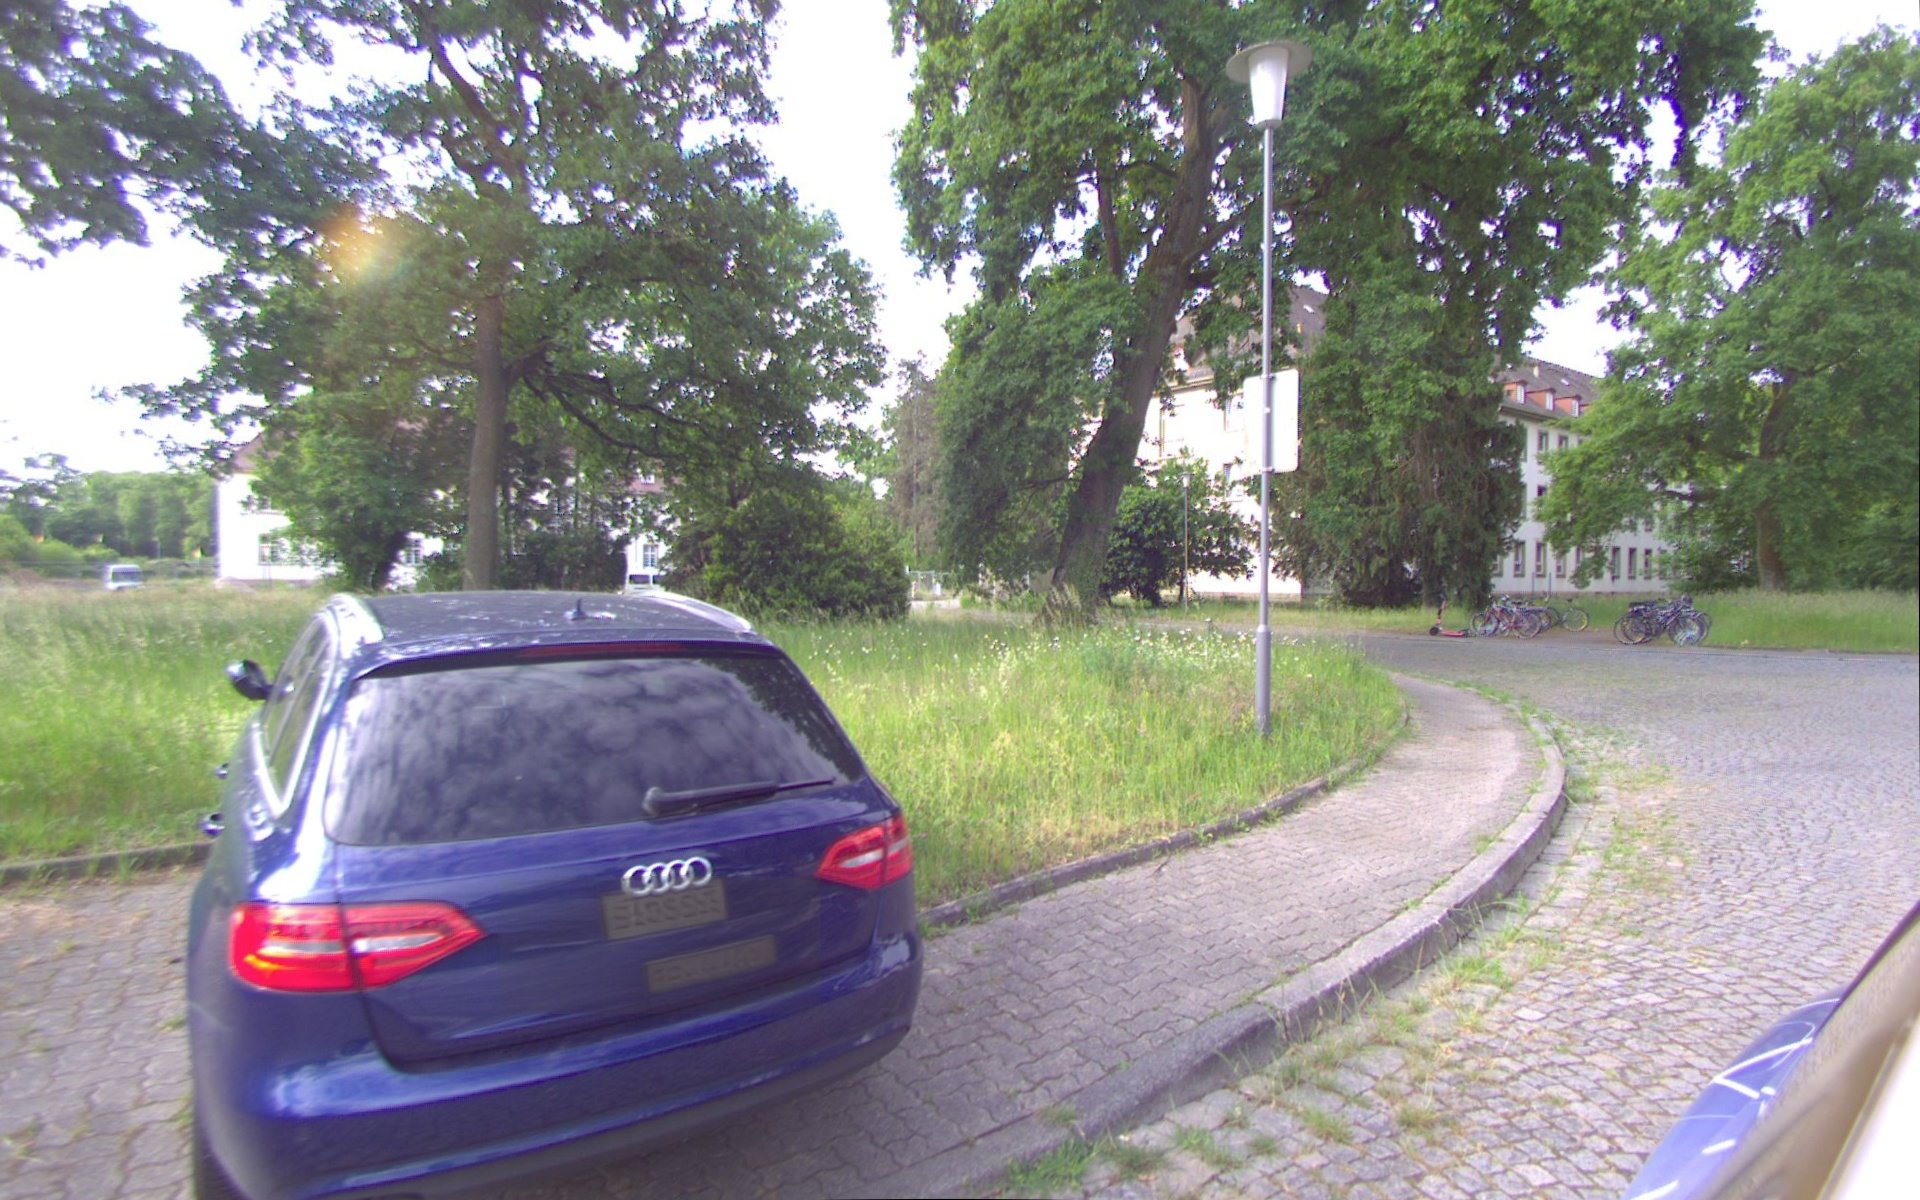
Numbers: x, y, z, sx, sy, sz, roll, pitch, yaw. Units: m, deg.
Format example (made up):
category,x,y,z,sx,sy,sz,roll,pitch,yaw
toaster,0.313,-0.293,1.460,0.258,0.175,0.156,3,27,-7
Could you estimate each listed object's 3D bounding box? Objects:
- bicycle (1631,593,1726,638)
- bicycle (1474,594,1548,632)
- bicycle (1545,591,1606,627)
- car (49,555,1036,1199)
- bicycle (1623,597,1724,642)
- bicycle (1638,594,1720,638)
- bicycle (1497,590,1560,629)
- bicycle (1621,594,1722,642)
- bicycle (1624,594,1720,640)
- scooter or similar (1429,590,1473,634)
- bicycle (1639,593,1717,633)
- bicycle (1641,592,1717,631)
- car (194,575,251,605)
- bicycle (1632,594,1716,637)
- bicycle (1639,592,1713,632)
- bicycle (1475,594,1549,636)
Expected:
category,x,y,z,sx,sy,sz,roll,pitch,yaw
bicycle,18.911,0.394,26.697,2.003,1.101,0.474,1,3,33
bicycle,15.666,0.360,28.816,1.838,1.002,0.452,1,1,27
bicycle,18.958,0.275,31.206,1.553,1.047,0.471,1,1,30
car,-1.818,0.606,3.951,1.858,1.482,4.524,0,2,-33
bicycle,17.827,0.474,25.336,2.003,1.022,0.474,1,3,33
bicycle,19.397,0.420,27.344,1.776,1.101,0.474,1,3,33
bicycle,16.881,0.262,30.074,1.549,1.101,0.558,1,1,24
bicycle,17.514,0.429,24.962,2.003,1.101,0.474,1,3,33
bicycle,18.449,0.418,26.268,2.003,1.101,0.474,1,3,33
scooter or similar,14.031,0.336,28.937,0.378,1.209,1.064,0,1,-33
bicycle,20.923,0.368,29.524,1.795,1.101,0.547,1,3,33
bicycle,21.839,0.336,30.776,1.812,1.101,0.547,1,3,33
car,-51.507,-0.681,70.644,2.446,2.039,5.821,-1,1,-44
bicycle,19.765,0.402,28.044,1.852,1.101,0.514,1,3,33
bicycle,21.327,0.353,30.183,1.738,1.101,0.547,1,3,33
bicycle,15.425,0.410,28.318,1.795,1.101,0.475,1,3,27
